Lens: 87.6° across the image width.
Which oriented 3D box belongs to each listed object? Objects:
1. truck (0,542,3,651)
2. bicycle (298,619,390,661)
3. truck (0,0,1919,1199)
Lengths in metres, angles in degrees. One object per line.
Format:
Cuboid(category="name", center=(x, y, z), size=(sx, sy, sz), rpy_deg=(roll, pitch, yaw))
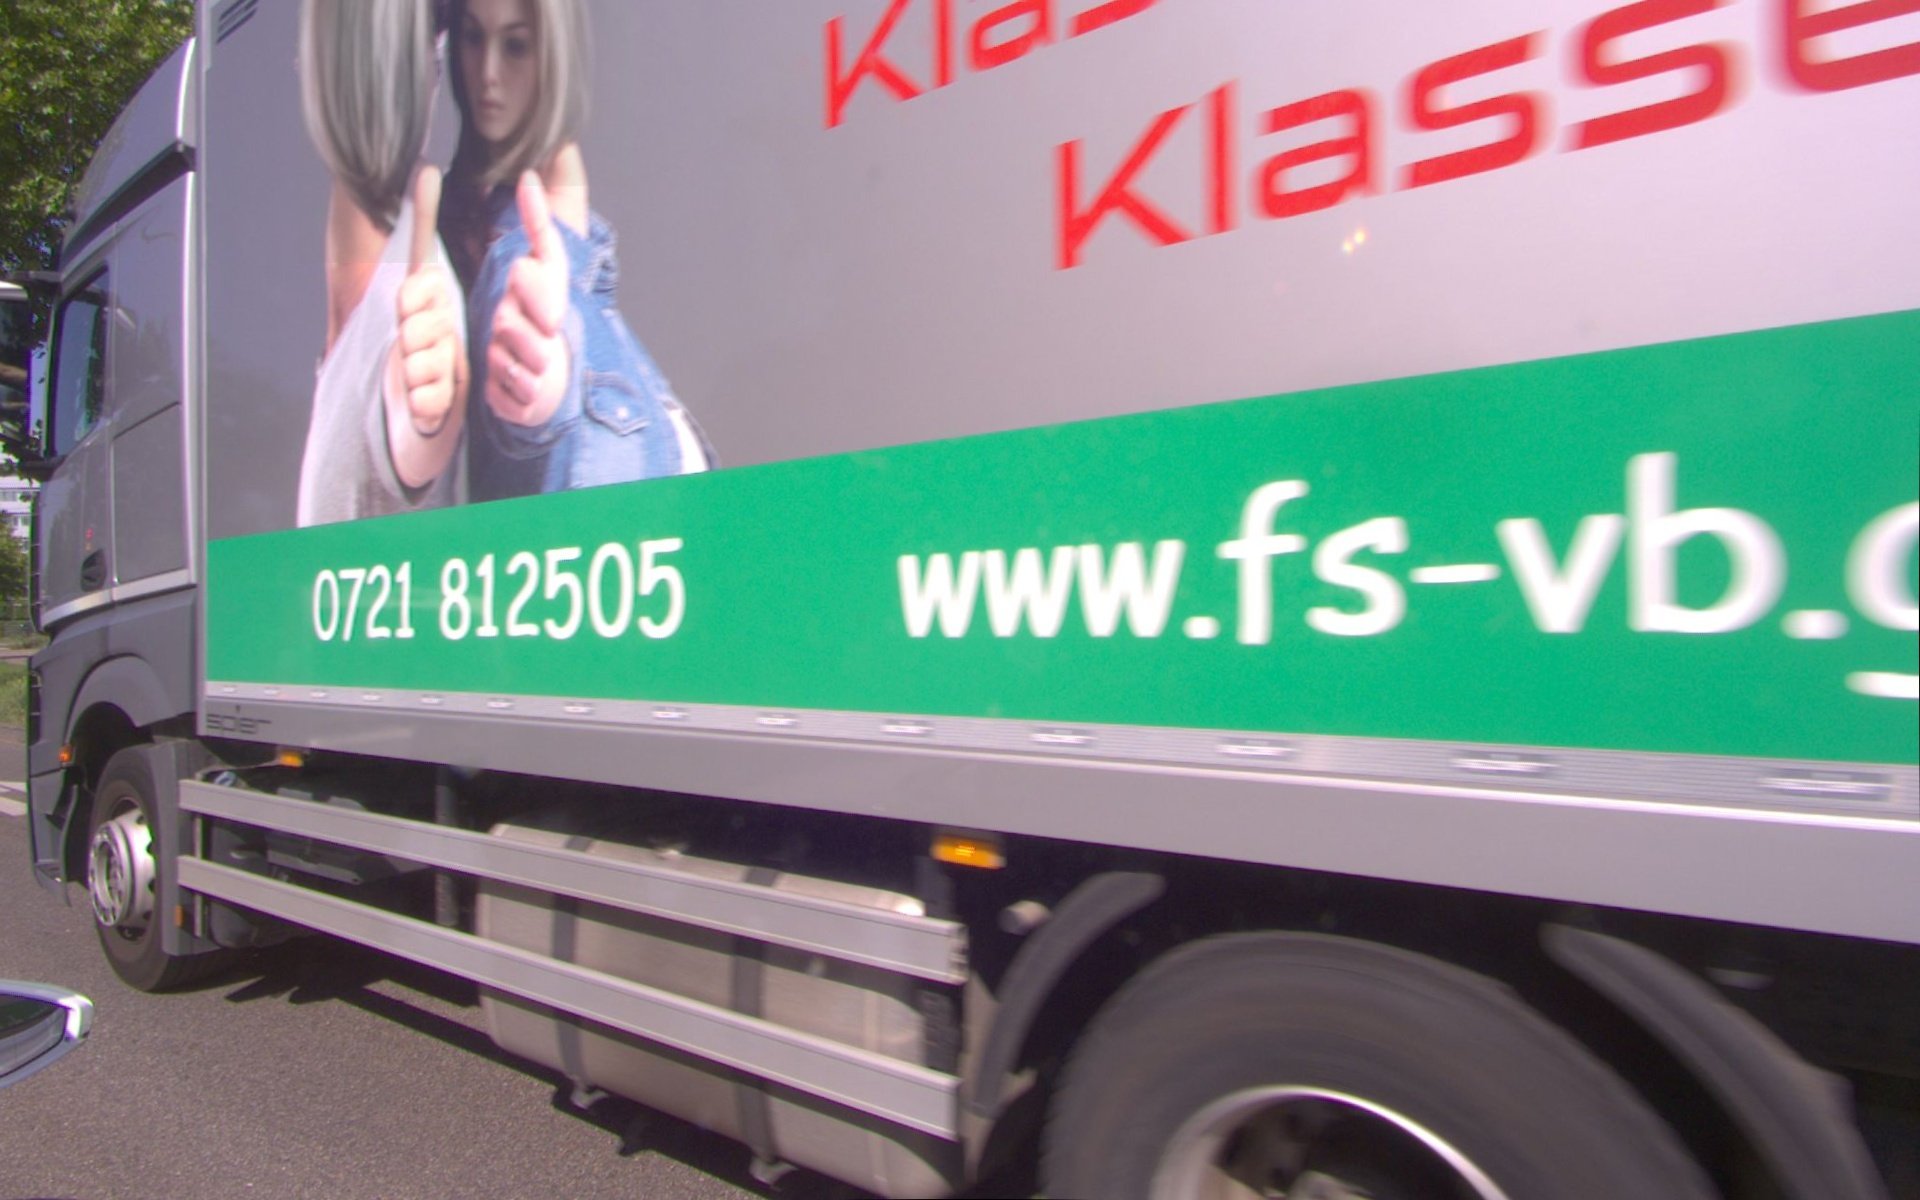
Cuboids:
Cuboid(category="truck", center=(-32.979, -0.252, 30.180), size=(2.868, 3.689, 7.181), rpy_deg=(0, -2, -16))
Cuboid(category="bicycle", center=(-16.330, 1.036, 26.589), size=(1.985, 1.027, 0.615), rpy_deg=(-1, 1, -41))
Cuboid(category="truck", center=(-0.297, -0.524, 3.299), size=(8.606, 3.940, 2.722), rpy_deg=(-1, -1, 35))
